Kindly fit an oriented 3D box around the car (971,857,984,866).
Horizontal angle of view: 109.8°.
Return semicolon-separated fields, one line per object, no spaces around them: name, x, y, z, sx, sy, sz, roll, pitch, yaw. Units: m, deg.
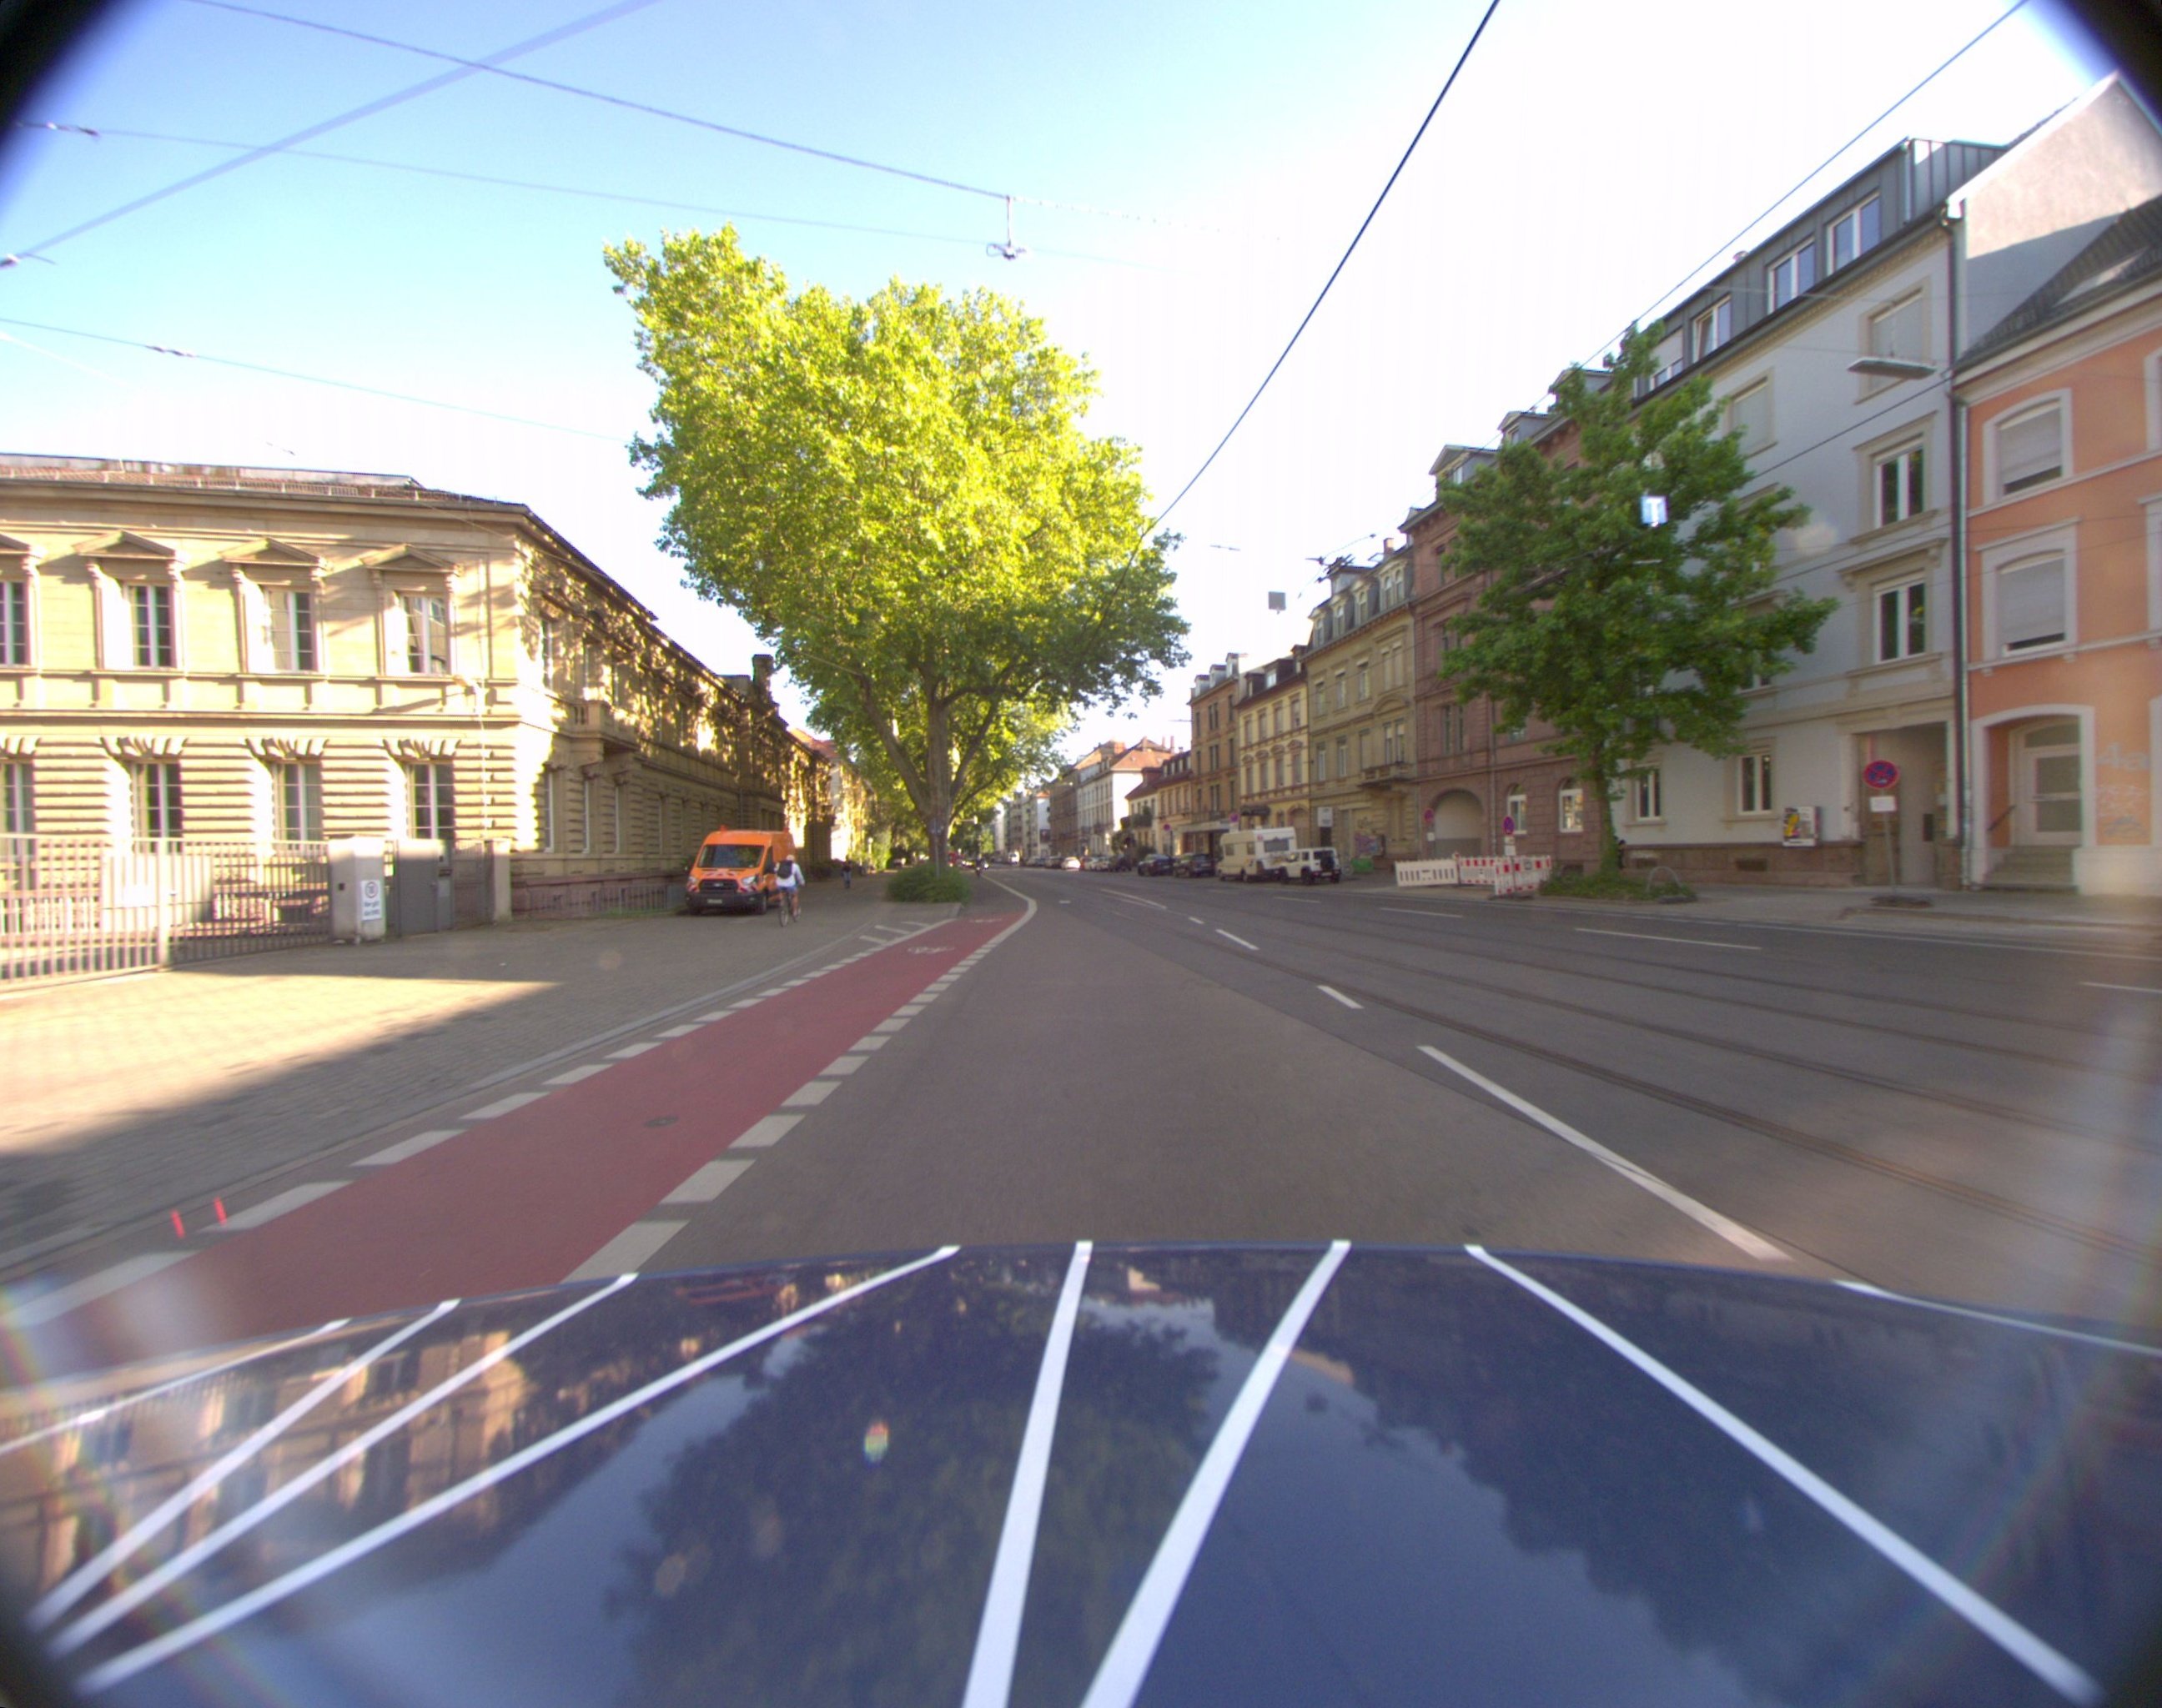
car;-17.226;1.217;126.199;1.741;1.365;3.915;-3;1;-11

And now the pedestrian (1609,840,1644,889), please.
pedestrian;16.712;0.318;23.295;0.578;1.453;0.607;-3;1;-11

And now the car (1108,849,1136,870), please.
car;3.773;0.478;70.973;1.730;1.736;3.622;-5;1;-10

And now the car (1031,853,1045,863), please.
car;-7.135;0.631;126.210;1.799;1.617;4.079;-3;1;-11

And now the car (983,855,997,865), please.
car;-13.328;0.865;111.175;1.741;1.365;3.915;-3;1;-11

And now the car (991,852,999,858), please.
car;-24.092;0.258;212.277;1.810;1.534;3.914;-3;1;-13

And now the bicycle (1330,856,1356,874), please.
bicycle;13.975;0.556;40.596;0.580;0.919;1.790;-1;0;-8

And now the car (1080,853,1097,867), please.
car;0.832;0.636;85.532;1.423;1.502;3.323;-3;1;-8

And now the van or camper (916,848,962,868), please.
van or camper;-19.318;0.495;103.272;5.934;2.484;2.217;-1;3;-12

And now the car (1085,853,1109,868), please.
car;1.639;0.691;80.564;1.588;1.482;4.466;-3;1;-11

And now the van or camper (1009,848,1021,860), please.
van or camper;-14.075;-0.027;161.716;1.946;2.267;4.593;-3;1;-11

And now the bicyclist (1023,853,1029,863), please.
bicyclist;-8.797;0.632;121.483;0.715;1.508;0.953;-1;1;-10

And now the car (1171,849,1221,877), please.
car;7.725;0.574;51.407;1.816;1.696;4.438;-5;1;-11

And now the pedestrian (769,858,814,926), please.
pedestrian;-7.126;0.904;18.764;0.671;1.610;1.102;1;1;-1

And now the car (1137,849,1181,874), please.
car;5.990;0.564;59.097;2.000;1.693;4.745;-5;1;-11

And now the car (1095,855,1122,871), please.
car;2.694;0.858;75.248;1.669;1.446;4.400;-4;1;-11

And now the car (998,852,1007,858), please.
car;-20.358;0.184;196.781;1.810;1.534;3.914;-3;1;-13

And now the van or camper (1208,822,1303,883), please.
van or camper;9.459;-0.095;42.126;2.427;2.930;7.244;-5;1;-9

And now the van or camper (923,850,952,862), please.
van or camper;-30.583;0.347;162.323;6.104;2.417;2.426;-1;1;-10

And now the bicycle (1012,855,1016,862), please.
bicycle;-12.142;0.811;138.138;0.715;1.131;2.119;-1;0;-5

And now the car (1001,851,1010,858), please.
car;-18.472;0.185;186.722;1.810;1.534;3.915;-3;1;-11

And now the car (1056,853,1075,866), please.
car;-2.105;0.693;100.806;1.799;1.587;4.079;-3;1;-11

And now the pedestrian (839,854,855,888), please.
pedestrian;-12.050;0.872;39.167;0.653;1.726;1.006;-1;1;-10

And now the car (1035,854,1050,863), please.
car;-6.146;0.696;121.006;1.799;1.368;4.079;-3;1;-11

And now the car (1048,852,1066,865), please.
car;-3.404;0.591;106.172;1.799;1.631;4.250;-3;1;-11

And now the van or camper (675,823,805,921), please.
van or camper;-10.044;0.468;22.965;2.042;2.544;5.768;-1;0;-8

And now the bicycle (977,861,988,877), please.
bicycle;-7.229;1.089;55.875;0.715;1.131;2.118;-1;0;-10

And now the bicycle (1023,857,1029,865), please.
bicycle;-8.790;1.094;121.523;0.715;1.131;2.118;-1;0;-10

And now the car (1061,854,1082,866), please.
car;-1.226;0.742;95.686;1.870;1.423;4.079;-3;1;-11

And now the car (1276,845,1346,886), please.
car;10.830;0.517;36.009;1.636;1.696;3.367;-4;1;-13

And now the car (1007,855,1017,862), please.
car;-15.163;0.998;167.097;1.810;1.534;3.915;-3;1;-11

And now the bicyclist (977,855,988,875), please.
bicyclist;-7.242;0.789;55.900;0.715;1.435;0.953;-1;1;-9

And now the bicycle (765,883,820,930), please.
bicycle;-7.138;1.271;18.880;0.676;1.026;1.900;1;0;-2
